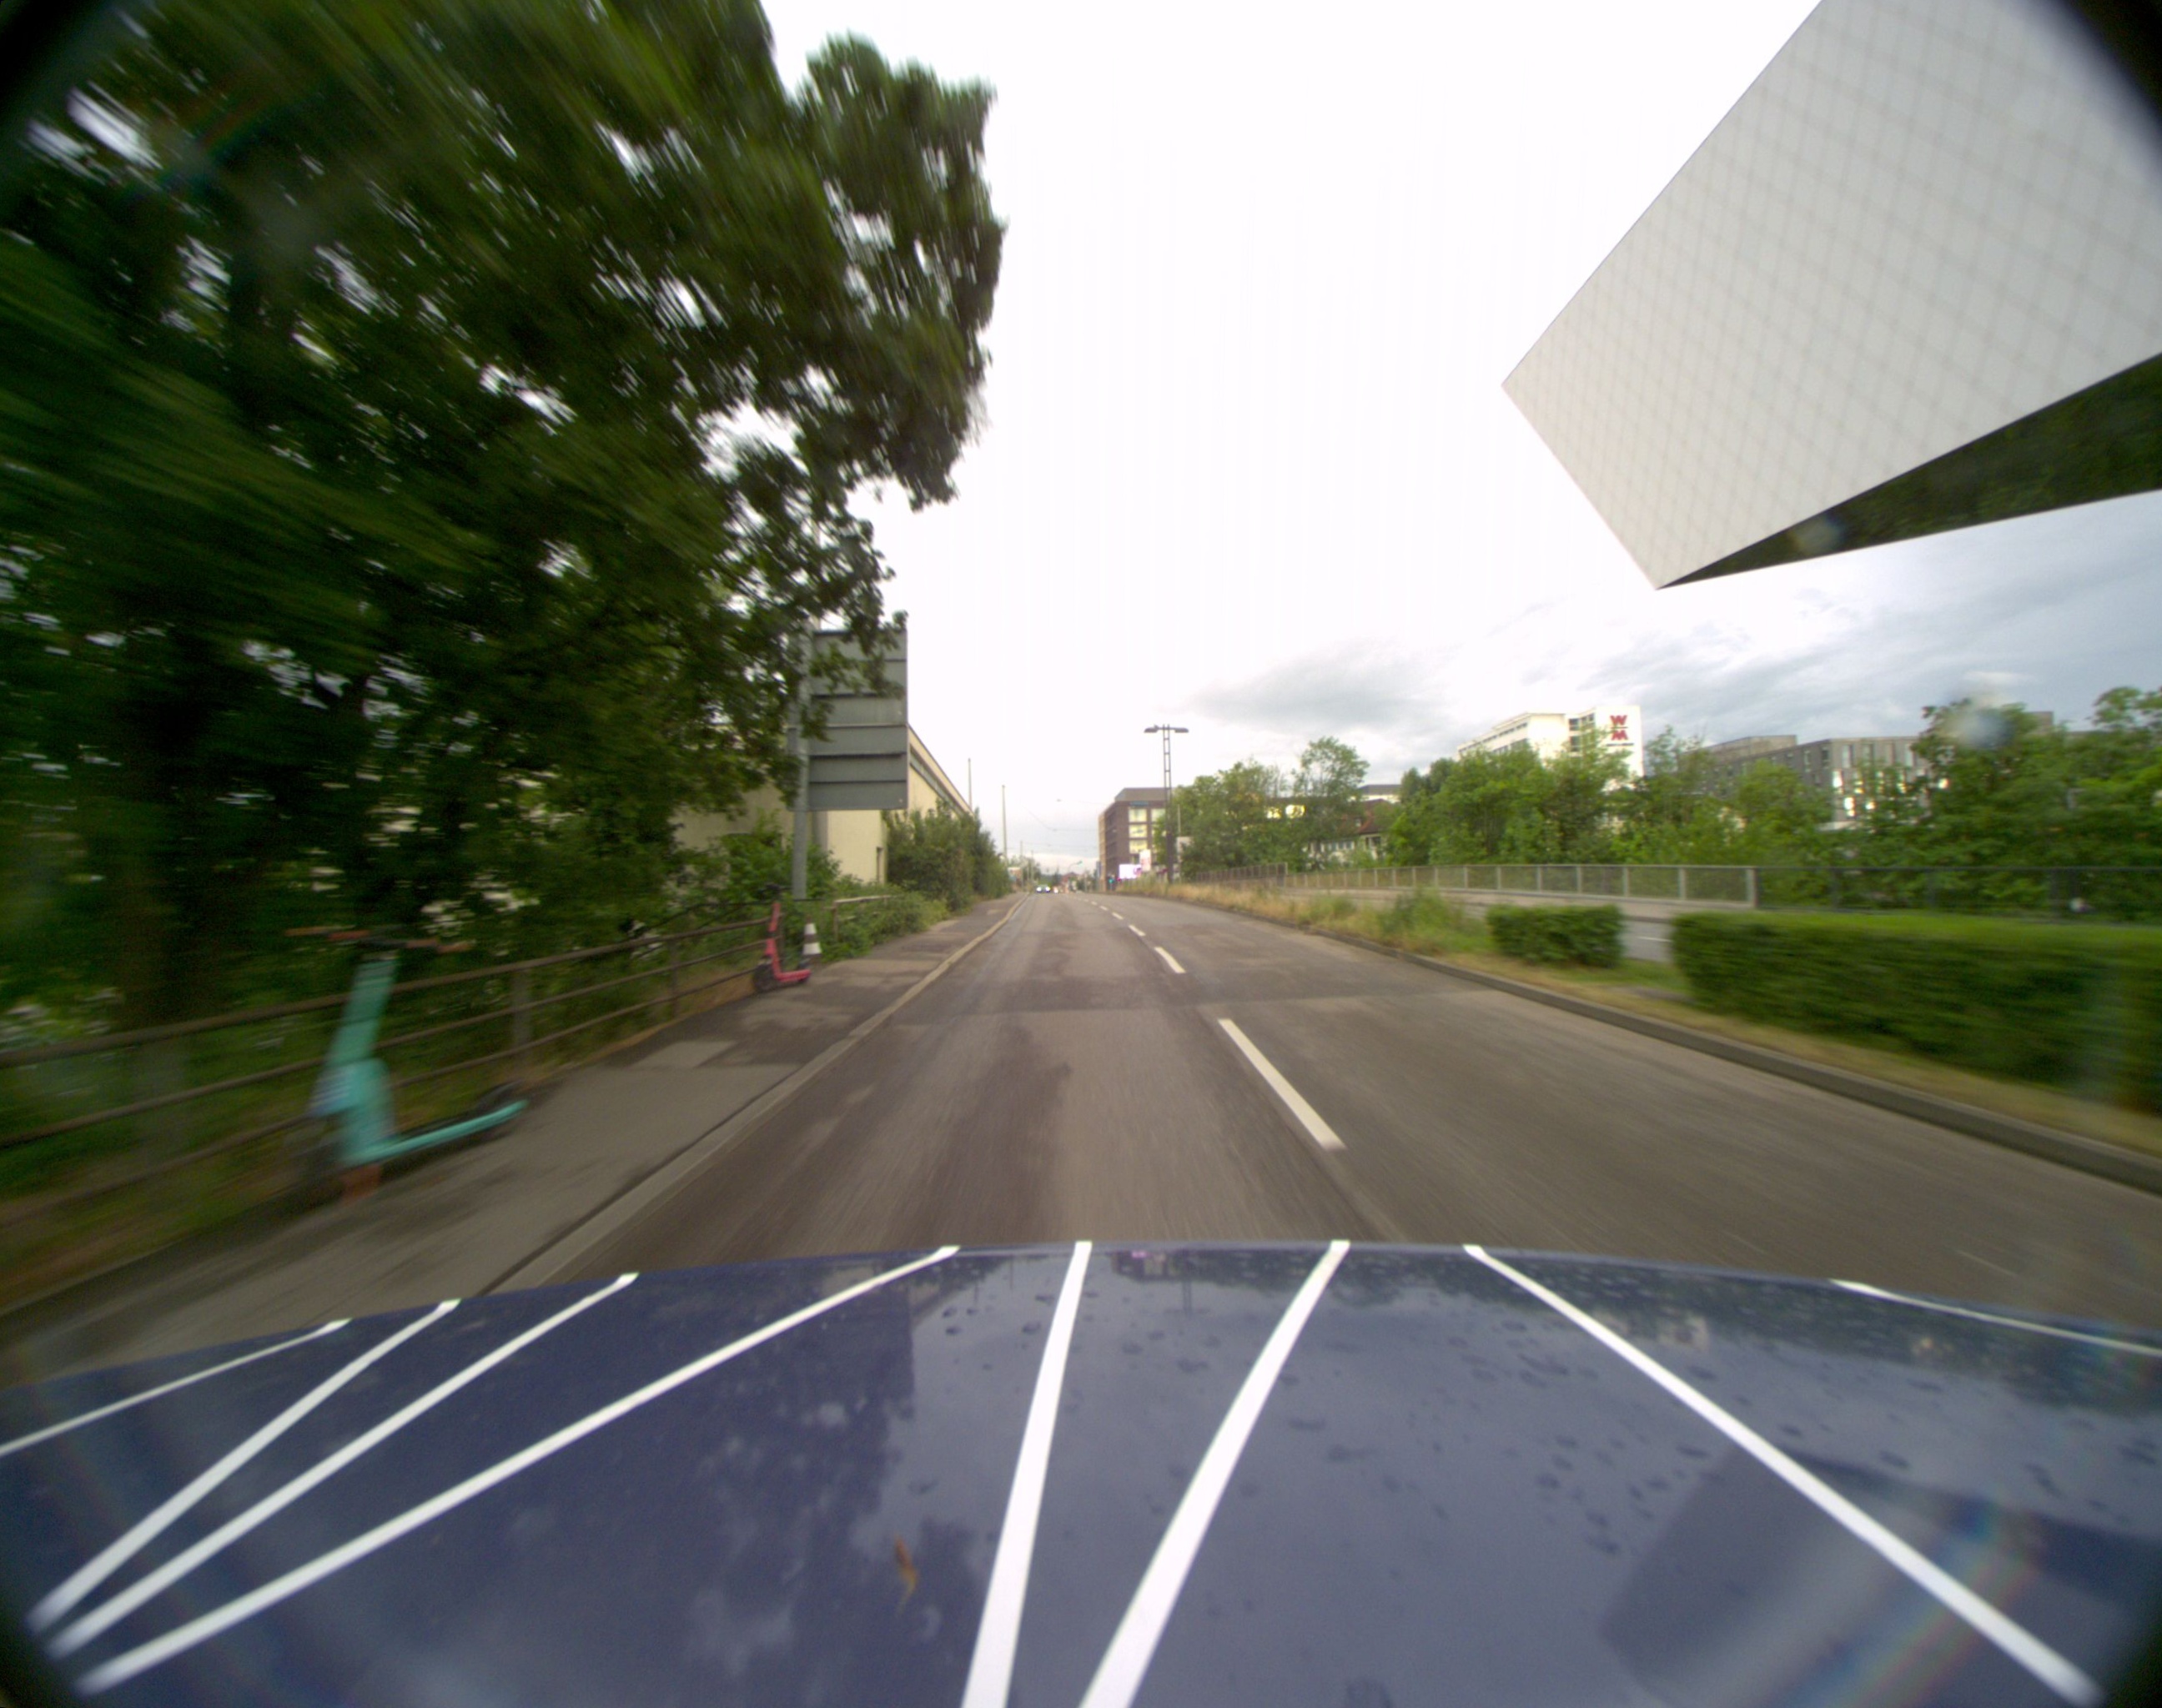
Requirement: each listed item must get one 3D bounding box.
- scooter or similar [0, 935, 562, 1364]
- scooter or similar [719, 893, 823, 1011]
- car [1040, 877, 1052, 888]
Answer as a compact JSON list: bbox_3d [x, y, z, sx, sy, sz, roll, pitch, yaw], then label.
[{"bbox_3d":[-3.303,1.088,3.463,0.539,1.225,1.844,-2,0,1],"label":"scooter or similar"},{"bbox_3d":[-3.650,1.116,9.060,0.574,1.201,1.468,-2,0,1],"label":"scooter or similar"},{"bbox_3d":[-5.884,4.744,126.719,1.841,1.574,4.289,-2,0,-1],"label":"car"}]
